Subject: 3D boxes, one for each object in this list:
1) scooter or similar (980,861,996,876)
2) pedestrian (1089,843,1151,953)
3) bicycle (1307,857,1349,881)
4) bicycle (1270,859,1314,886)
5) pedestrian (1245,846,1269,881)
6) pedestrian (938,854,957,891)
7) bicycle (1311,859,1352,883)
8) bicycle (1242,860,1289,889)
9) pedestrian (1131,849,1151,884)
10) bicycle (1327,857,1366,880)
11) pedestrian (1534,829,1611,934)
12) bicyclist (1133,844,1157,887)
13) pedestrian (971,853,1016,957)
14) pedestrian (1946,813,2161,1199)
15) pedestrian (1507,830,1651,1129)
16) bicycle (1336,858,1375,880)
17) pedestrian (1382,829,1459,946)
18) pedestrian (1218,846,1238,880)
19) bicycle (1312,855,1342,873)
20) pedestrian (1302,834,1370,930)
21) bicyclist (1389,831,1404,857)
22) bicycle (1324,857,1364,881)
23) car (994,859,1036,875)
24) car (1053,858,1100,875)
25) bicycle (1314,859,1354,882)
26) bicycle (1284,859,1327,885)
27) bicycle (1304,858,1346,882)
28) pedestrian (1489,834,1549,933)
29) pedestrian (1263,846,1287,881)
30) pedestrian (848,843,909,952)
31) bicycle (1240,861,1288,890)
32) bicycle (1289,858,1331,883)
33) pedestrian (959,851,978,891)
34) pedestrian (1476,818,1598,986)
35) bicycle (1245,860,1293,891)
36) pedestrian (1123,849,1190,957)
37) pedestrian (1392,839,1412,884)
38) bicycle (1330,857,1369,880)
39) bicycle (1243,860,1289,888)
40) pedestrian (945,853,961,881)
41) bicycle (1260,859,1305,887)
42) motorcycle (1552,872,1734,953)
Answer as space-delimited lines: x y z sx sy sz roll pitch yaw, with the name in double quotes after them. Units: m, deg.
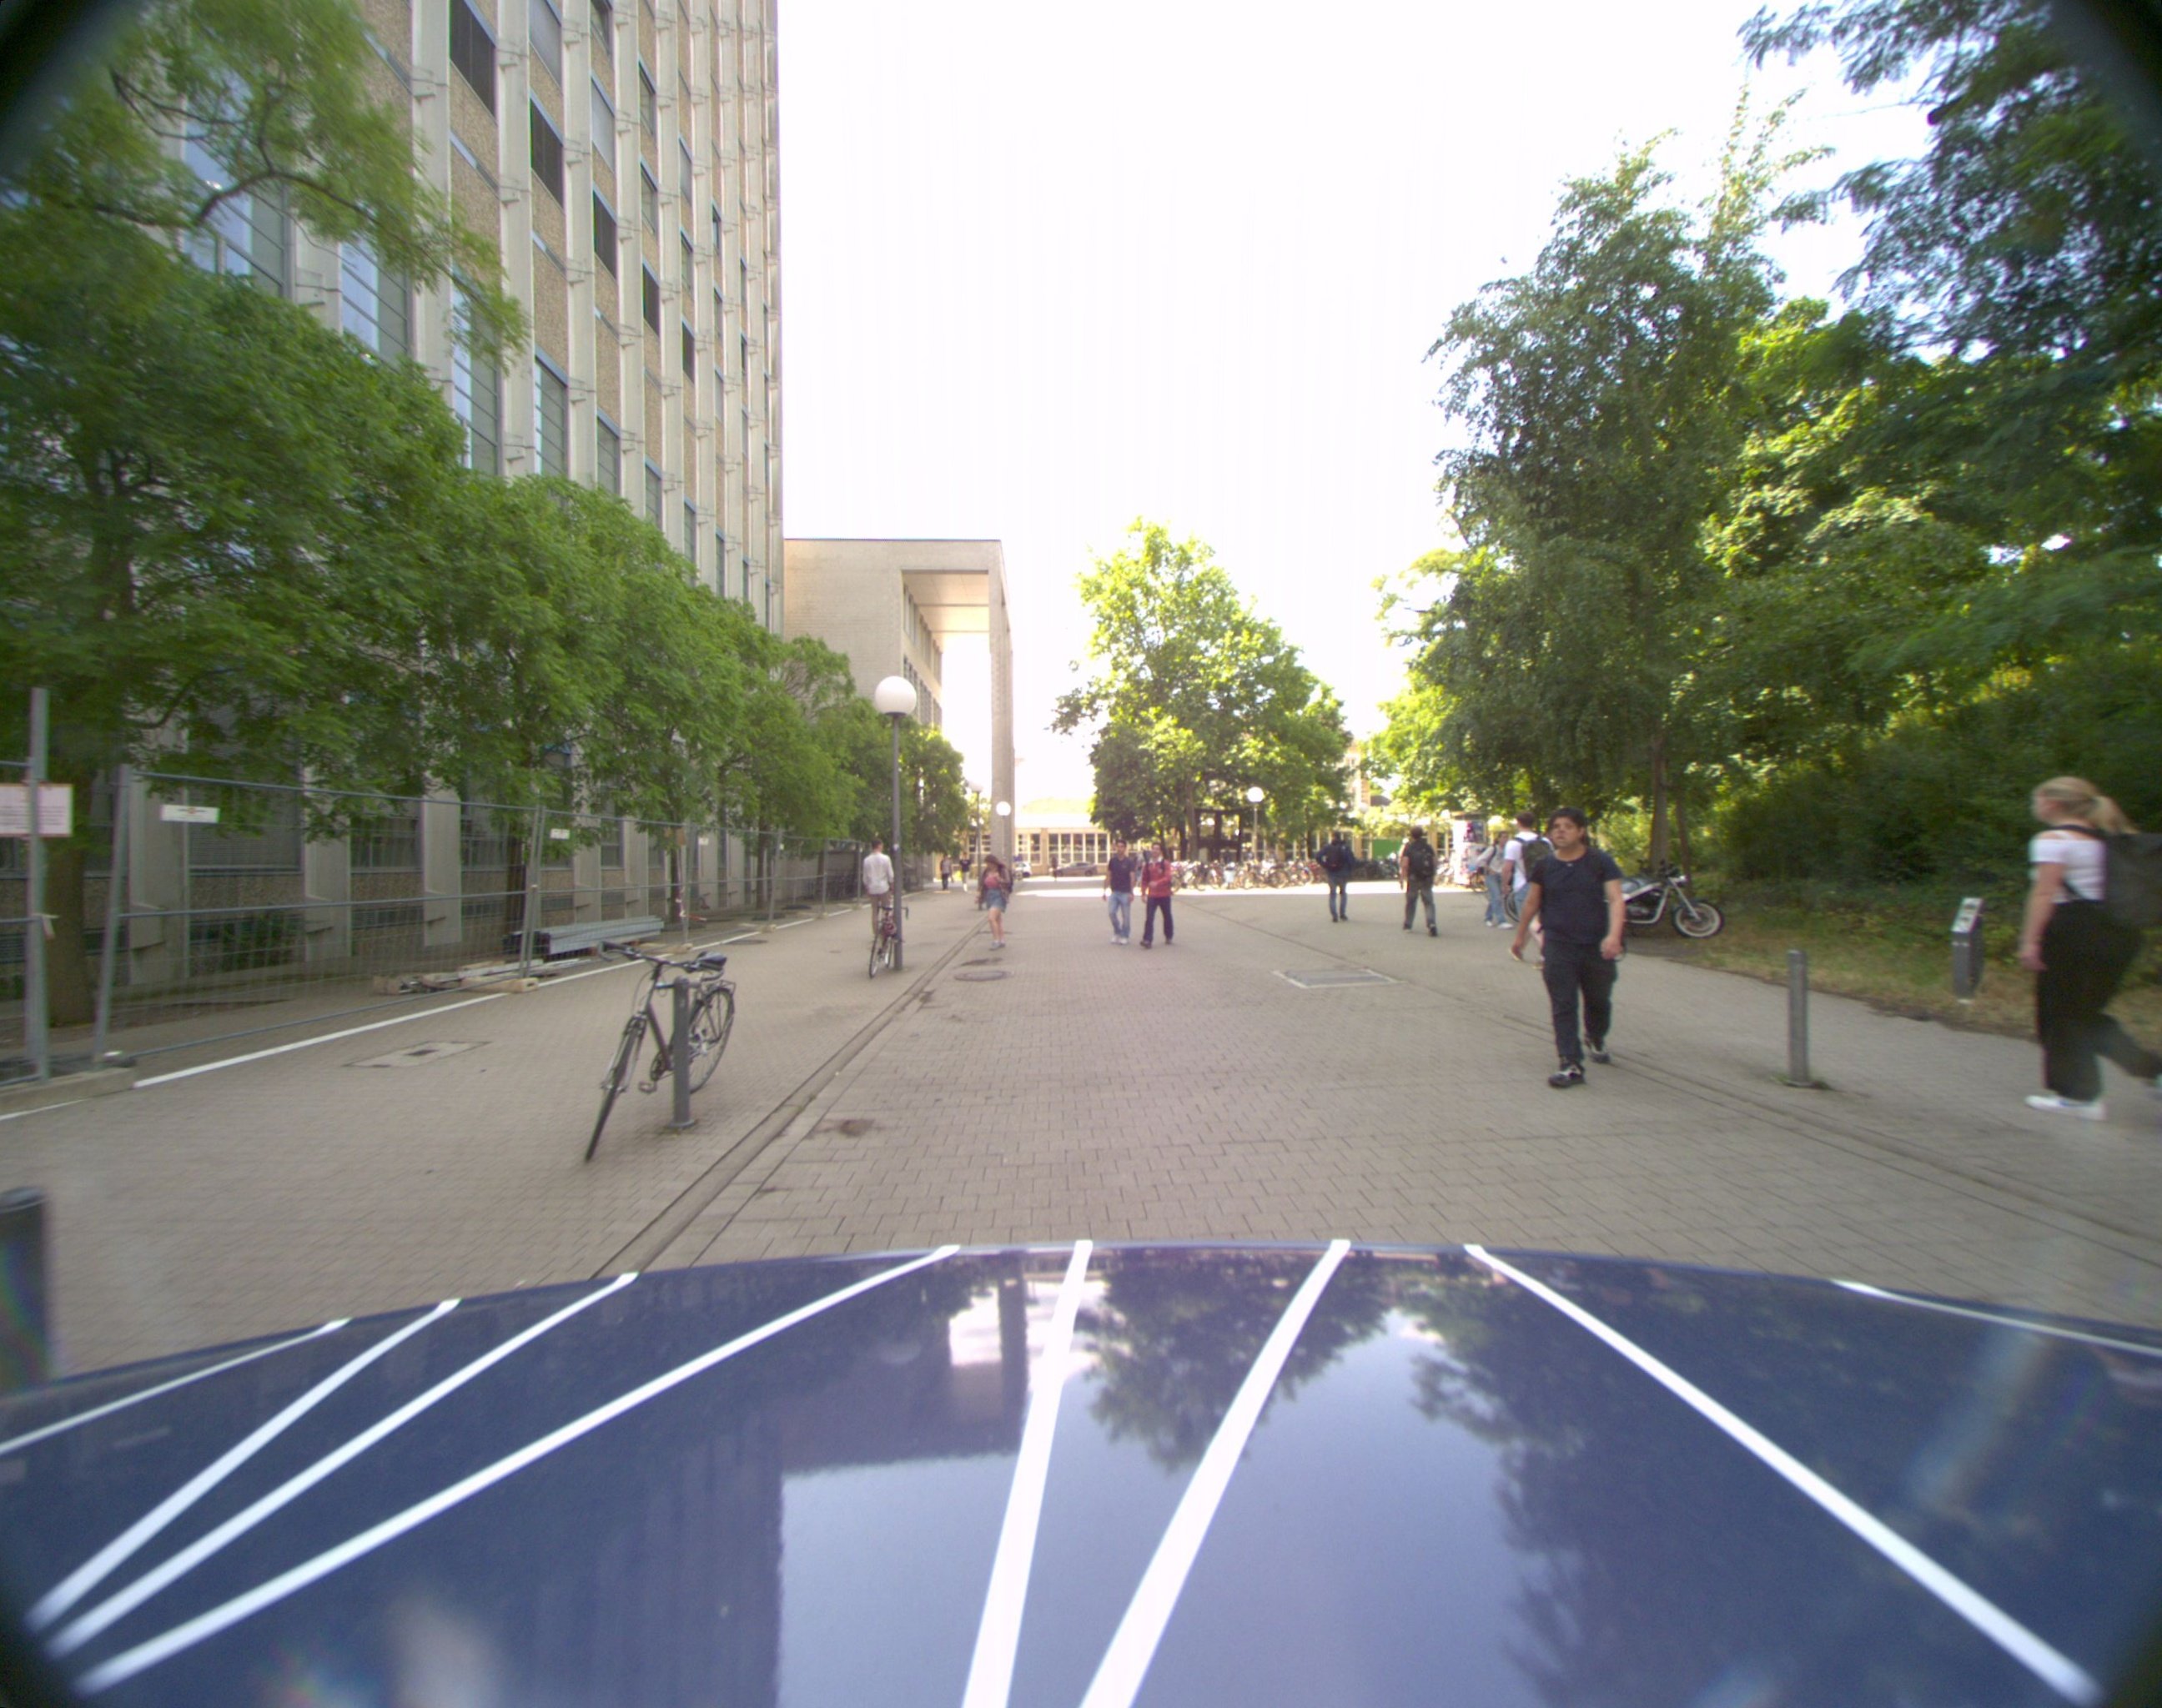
-7.175 1.113 58.383 1.157 1.144 0.444 0 0 2 "scooter or similar"
0.680 0.740 13.174 0.684 1.824 0.943 0 0 32 "pedestrian"
11.217 0.697 34.524 1.695 1.077 0.475 -1 1 33 "bicycle"
8.766 0.755 31.586 1.695 1.077 0.475 -1 1 39 "bicycle"
8.797 0.471 37.958 0.904 1.693 0.771 -1 1 35 "pedestrian"
-6.063 0.824 34.491 0.703 1.645 0.881 0 0 -20 "pedestrian"
11.557 0.767 35.051 1.695 1.077 0.475 -1 1 33 "bicycle"
7.123 0.799 29.370 1.696 1.077 0.475 -1 1 17 "bicycle"
2.869 0.591 36.262 0.768 1.670 0.908 0 0 16 "pedestrian"
12.636 0.690 36.189 1.695 1.077 0.475 -1 1 33 "bicycle"
8.423 0.457 13.034 0.679 1.714 0.935 0 0 -38 "pedestrian"
2.393 0.421 28.296 0.720 1.559 0.596 -1 1 23 "bicyclist"
-1.483 0.846 12.972 0.686 1.714 0.731 -2 1 -4 "pedestrian"
5.098 0.666 3.669 0.684 1.718 1.001 -2 1 -7 "pedestrian"
3.218 0.720 4.916 0.684 1.714 0.906 -1 1 35 "pedestrian"
13.372 0.729 37.036 1.695 1.077 0.475 -1 1 33 "bicycle"
5.653 0.530 12.718 0.684 1.862 1.120 -2 1 -7 "pedestrian"
7.842 0.476 40.507 0.771 1.796 0.708 -2 1 -35 "pedestrian"
15.691 0.611 48.474 0.503 1.101 1.902 -2 1 -32 "bicycle"
5.158 0.536 15.370 0.886 1.847 1.034 -1 1 45 "pedestrian"
24.599 -0.783 59.225 0.866 1.881 0.806 -5 1 28 "bicyclist"
12.355 0.716 35.730 1.695 1.077 0.475 -1 1 33 "bicycle"
-6.077 1.190 70.019 3.777 1.468 1.652 0 2 -2 "car"
-0.449 1.121 70.407 4.209 1.468 1.652 -1 2 -3 "car"
11.809 0.776 35.461 1.695 1.077 0.475 -1 1 33 "bicycle"
9.576 0.780 32.411 1.695 1.077 0.475 -1 1 36 "bicycle"
10.925 0.713 34.059 1.695 1.077 0.475 -1 1 33 "bicycle"
7.915 0.520 13.730 0.687 1.714 0.729 0 0 -38 "pedestrian"
9.573 0.457 37.440 0.904 1.693 0.771 -1 1 36 "pedestrian"
-3.657 0.750 13.677 0.787 1.834 1.115 -2 1 -26 "pedestrian"
6.930 0.811 28.827 1.721 1.077 0.474 -1 1 12 "bicycle"
10.028 0.719 33.326 1.695 1.077 0.475 -1 1 33 "bicycle"
-5.103 0.755 34.389 0.703 1.792 0.881 0 0 -20 "pedestrian"
5.396 0.531 9.056 0.726 1.870 1.081 -2 1 -7 "pedestrian"
6.978 0.815 28.309 1.697 1.104 0.474 -1 1 10 "bicycle"
1.264 0.781 12.613 0.717 1.714 1.067 -1 0 30 "pedestrian"
13.269 0.315 31.386 0.612 1.825 1.052 -1 1 29 "pedestrian"
12.939 0.684 36.599 1.695 1.077 0.475 -1 1 33 "bicycle"
7.274 0.792 29.851 1.696 1.077 0.475 -1 1 17 "bicycle"
-8.410 0.862 49.892 0.960 1.803 0.769 -2 1 -12 "pedestrian"
8.112 0.773 30.662 1.695 1.077 0.475 -1 1 39 "bicycle"
7.938 0.813 10.810 2.020 1.041 0.475 -3 0 40 "motorcycle"
